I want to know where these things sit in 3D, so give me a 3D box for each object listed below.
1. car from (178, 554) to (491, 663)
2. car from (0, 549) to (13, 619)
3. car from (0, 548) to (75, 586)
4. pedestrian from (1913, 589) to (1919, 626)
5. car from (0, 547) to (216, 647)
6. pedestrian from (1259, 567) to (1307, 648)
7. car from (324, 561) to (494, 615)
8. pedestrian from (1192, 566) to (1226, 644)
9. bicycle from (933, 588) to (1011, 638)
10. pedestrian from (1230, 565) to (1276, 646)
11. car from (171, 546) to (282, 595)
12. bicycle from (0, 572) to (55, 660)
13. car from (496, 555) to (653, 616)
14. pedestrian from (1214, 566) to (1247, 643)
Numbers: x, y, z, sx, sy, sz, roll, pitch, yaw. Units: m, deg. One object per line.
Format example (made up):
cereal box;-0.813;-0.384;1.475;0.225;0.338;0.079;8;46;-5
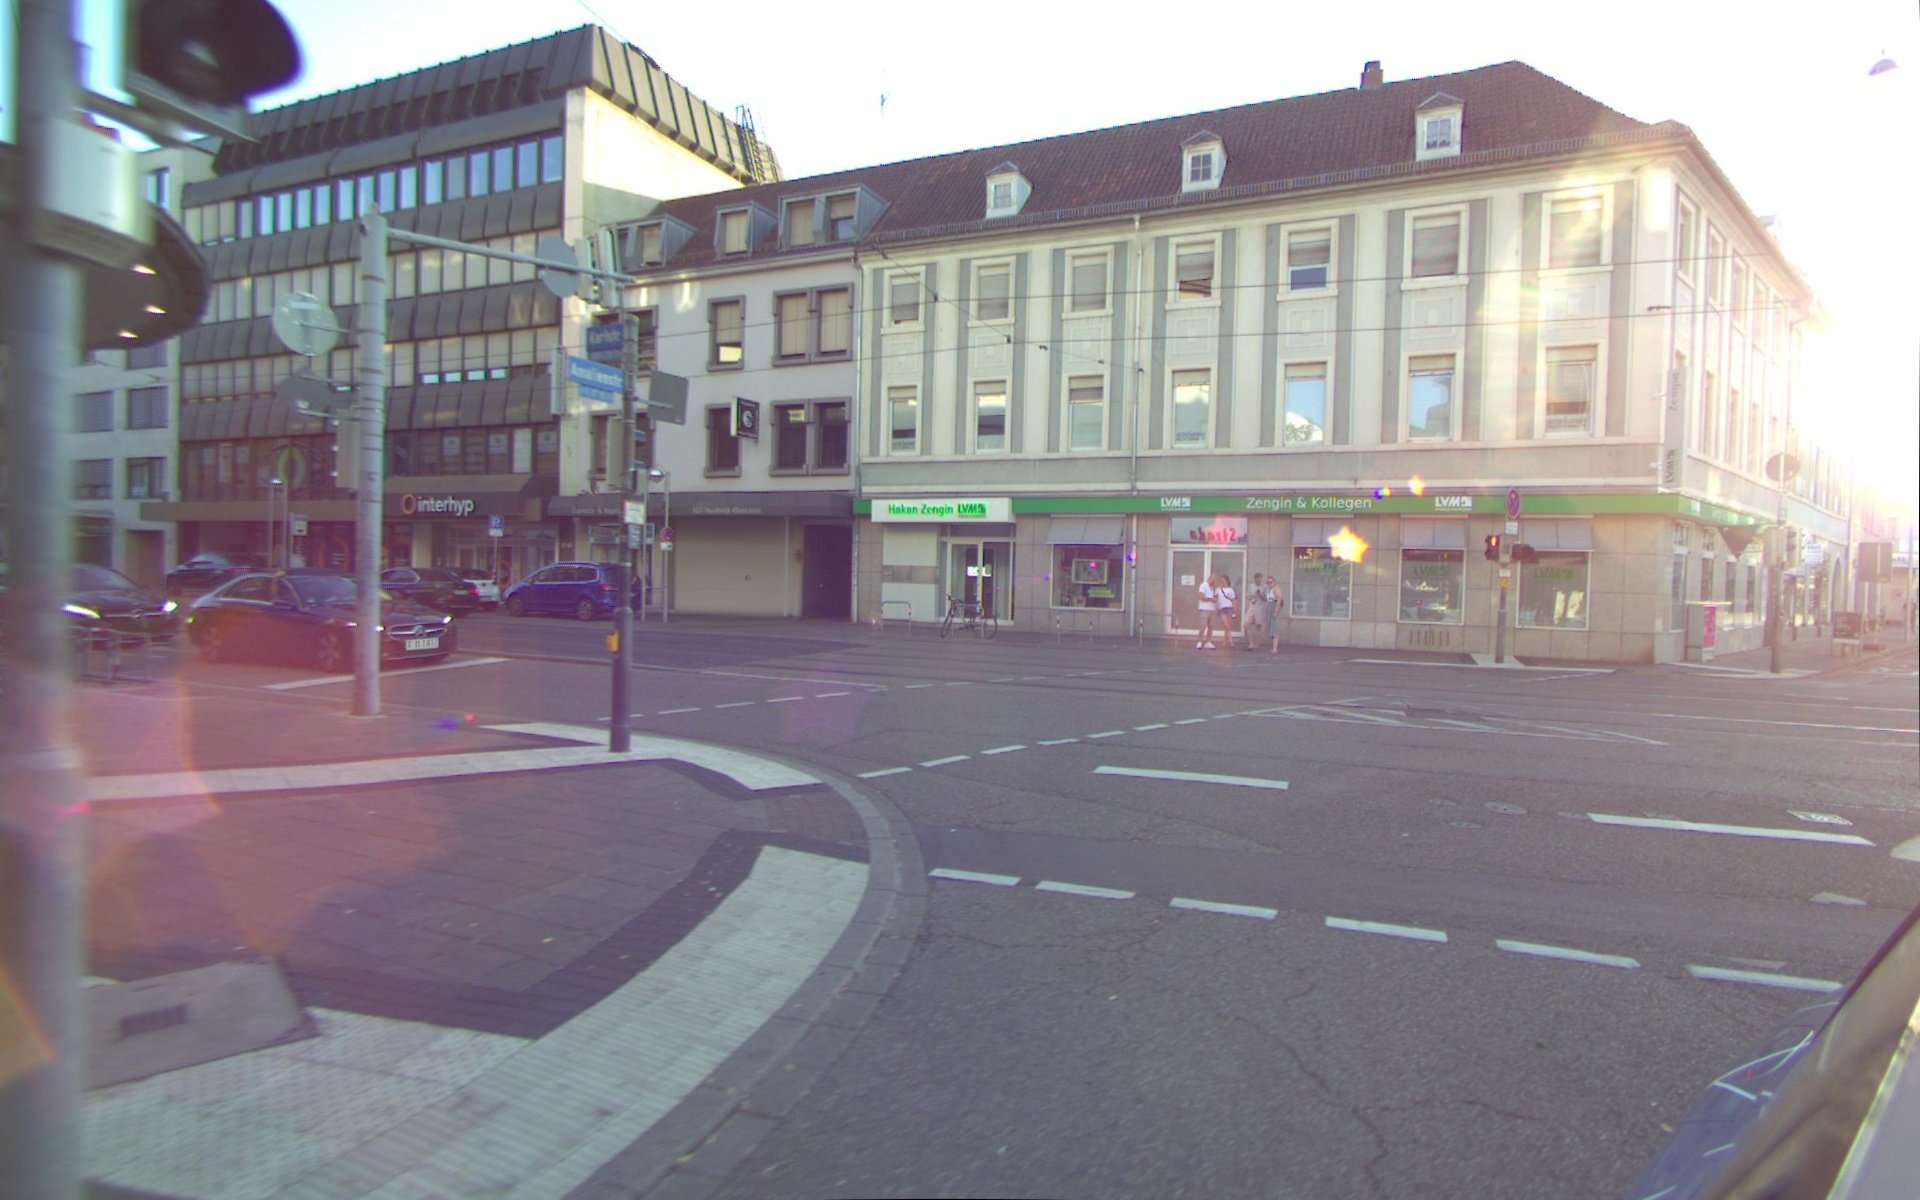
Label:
car;-9.707;0.044;15.716;4.430;1.487;1.967;1;2;24
car;-21.758;-0.336;21.031;3.639;1.437;1.755;1;1;23
car;-36.729;-1.313;39.505;4.466;1.401;1.756;2;2;27
pedestrian;47.550;0.401;49.823;0.668;1.806;0.714;4;4;32
car;-15.817;-0.142;18.214;4.350;1.542;1.985;2;4;23
pedestrian;7.300;0.148;22.859;0.775;1.794;0.895;1;1;36
car;-16.063;-0.385;29.527;4.455;1.437;1.986;2;1;21
pedestrian;5.871;0.106;23.879;0.675;1.794;0.764;0;1;8
bicycle;0.299;0.300;25.421;1.856;1.199;0.689;1;1;30
pedestrian;6.791;0.115;23.456;0.775;1.835;0.895;1;1;36
car;-27.845;-1.123;38.432;3.712;1.652;1.797;2;-1;25
bicycle;-13.646;0.230;13.535;0.647;1.208;2.281;0;1;19
car;-11.837;-0.482;31.054;4.462;1.724;1.983;2;1;25
pedestrian;6.395;0.104;23.944;0.672;1.794;0.628;0;1;8
